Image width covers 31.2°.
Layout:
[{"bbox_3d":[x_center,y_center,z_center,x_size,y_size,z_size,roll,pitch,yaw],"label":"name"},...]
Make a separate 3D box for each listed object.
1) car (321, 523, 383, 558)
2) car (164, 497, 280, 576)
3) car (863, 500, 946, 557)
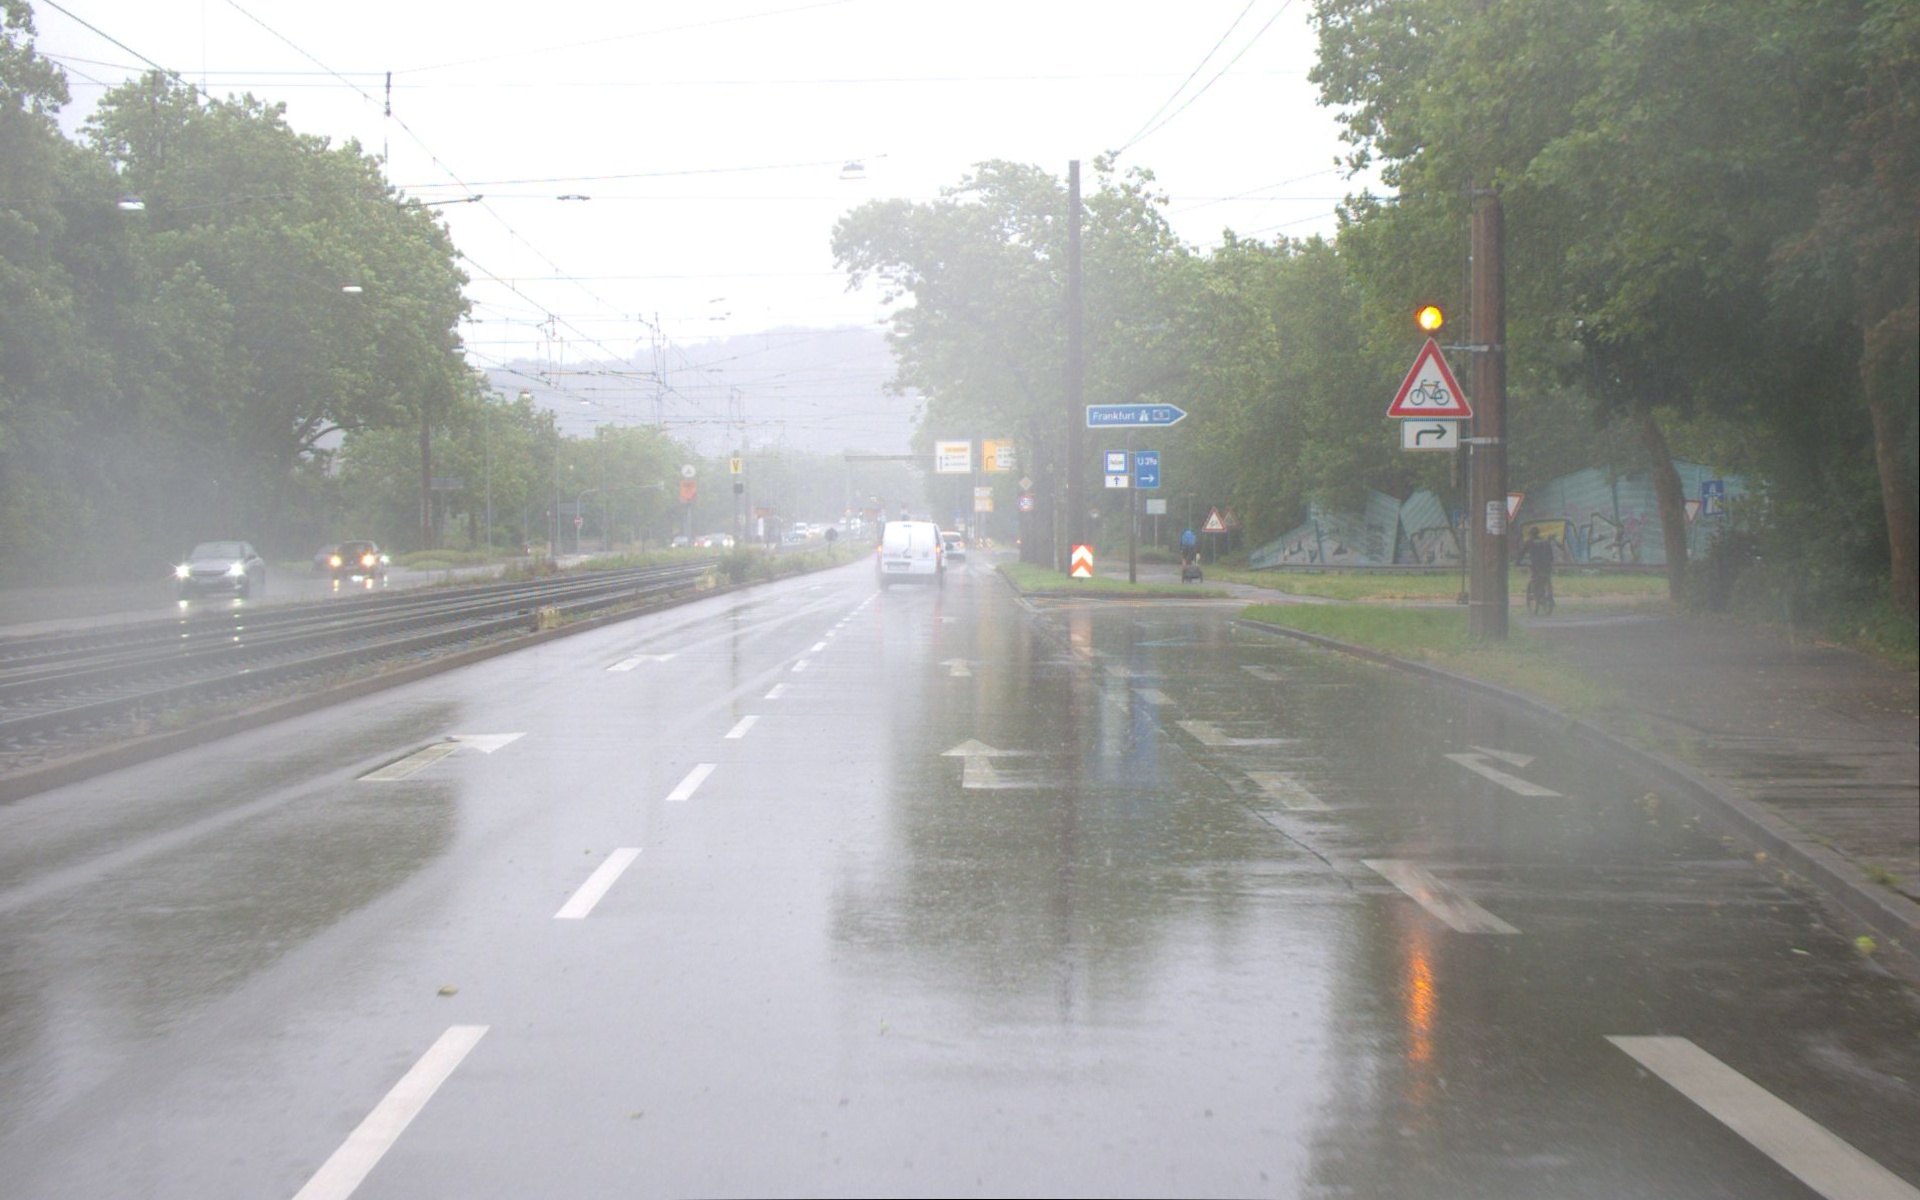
[{"bbox_3d":[-23.576,-2.320,133.480,1.771,1.326,4.381,0,1,-2],"label":"car"},{"bbox_3d":[-18.557,-1.631,86.595,1.993,1.776,4.001,5,2,-1],"label":"car"},{"bbox_3d":[-1.431,-1.854,89.537,2.077,1.415,4.000,-1,1,-1],"label":"car"}]
